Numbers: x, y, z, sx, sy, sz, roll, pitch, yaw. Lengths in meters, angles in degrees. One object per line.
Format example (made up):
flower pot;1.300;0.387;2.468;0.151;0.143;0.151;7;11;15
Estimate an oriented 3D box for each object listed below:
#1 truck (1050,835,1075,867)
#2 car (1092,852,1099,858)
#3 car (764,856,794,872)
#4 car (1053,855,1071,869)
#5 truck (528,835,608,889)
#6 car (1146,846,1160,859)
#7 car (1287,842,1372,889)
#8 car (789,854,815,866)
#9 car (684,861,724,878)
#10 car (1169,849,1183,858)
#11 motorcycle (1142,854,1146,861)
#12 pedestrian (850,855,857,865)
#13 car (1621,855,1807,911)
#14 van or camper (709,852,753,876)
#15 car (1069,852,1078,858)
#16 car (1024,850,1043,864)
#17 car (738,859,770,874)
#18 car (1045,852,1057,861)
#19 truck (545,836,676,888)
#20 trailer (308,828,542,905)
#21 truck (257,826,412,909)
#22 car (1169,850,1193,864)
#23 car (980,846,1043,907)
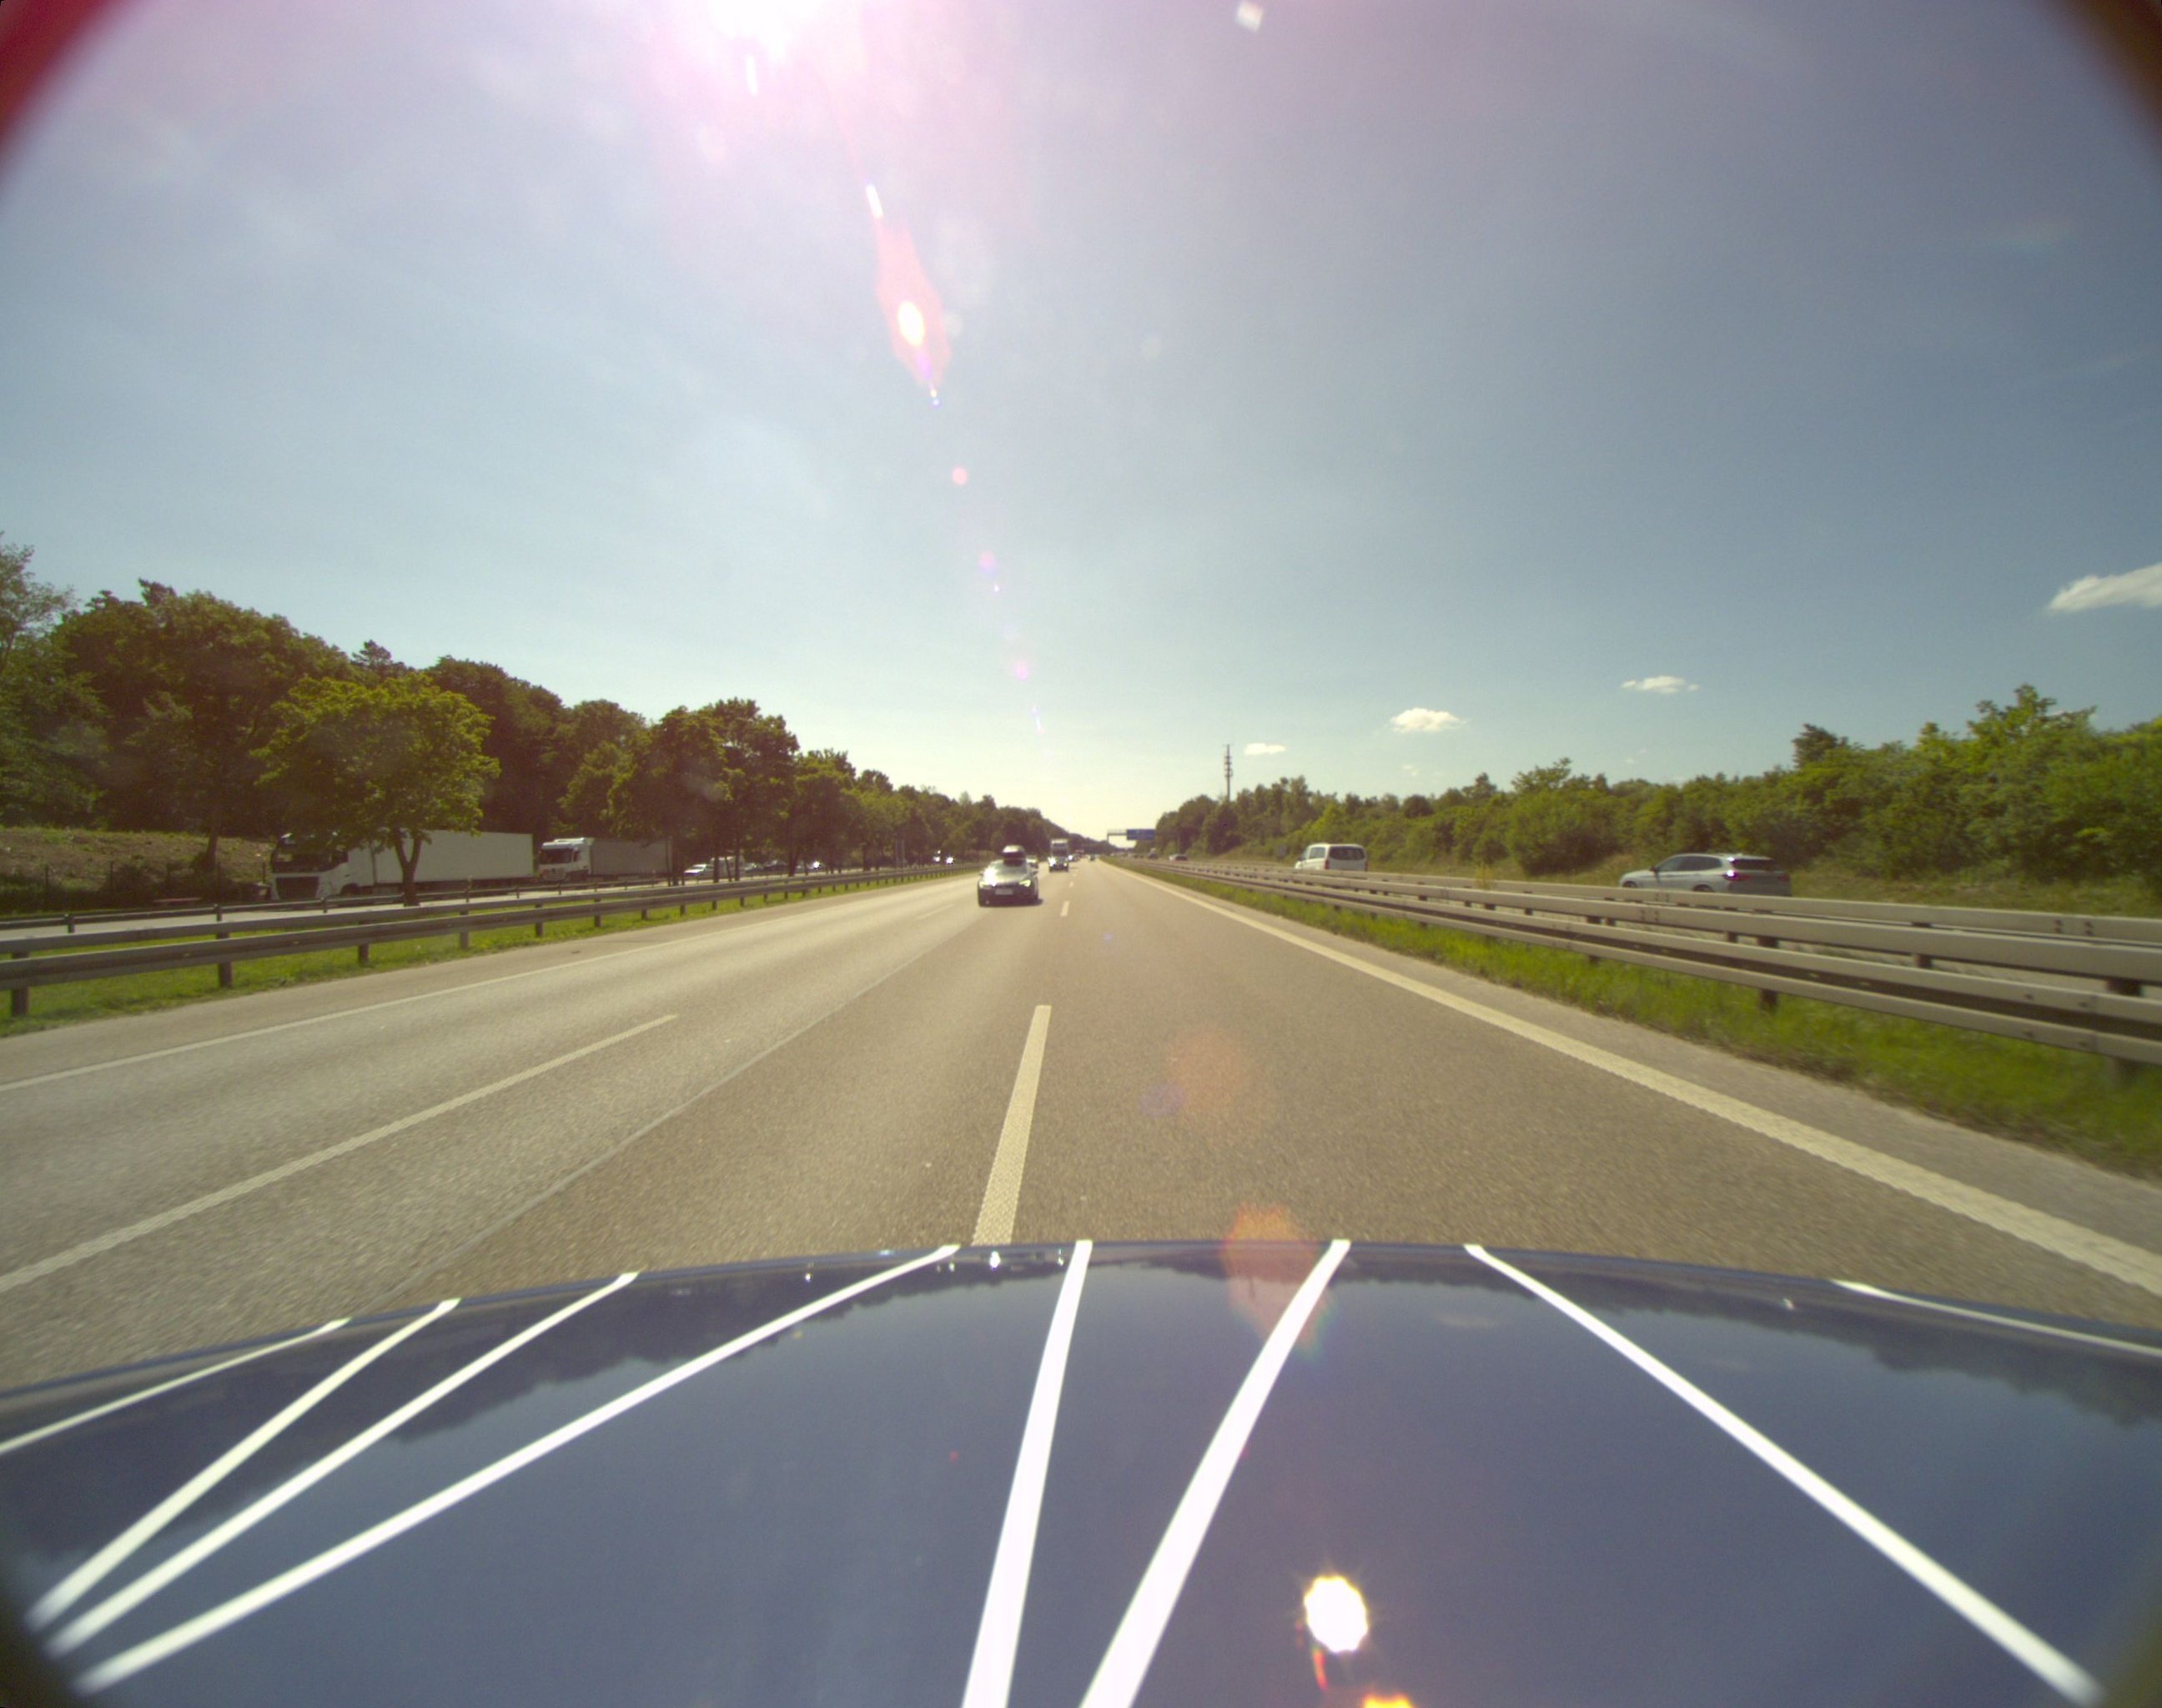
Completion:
truck;-2.221;-0.336;92.500;2.676;3.660;6.484;-1;0;2
car;3.251;0.172;167.895;1.591;1.291;3.383;0;0;2
car;-39.752;1.293;100.044;1.659;1.866;4.801;-1;0;5
car;-1.770;0.752;70.637;1.537;1.265;2.770;-1;0;2
truck;-39.438;0.591;58.586;2.979;3.908;4.831;-1;1;-4
car;13.313;-0.258;140.812;1.999;2.097;4.301;-4;0;0
car;11.076;0.452;34.317;1.925;1.862;5.516;3;1;-1
car;-40.167;0.875;109.467;1.659;1.666;4.653;-1;0;5
car;-40.245;1.616;81.167;1.659;1.588;4.556;-1;0;5
car;15.284;-0.073;122.703;1.747;1.450;4.232;-1;0;1
motorcycle;10.835;0.576;130.627;0.666;1.070;1.881;1;1;1
pedestrian;-38.252;1.023;127.870;0.641;1.772;0.802;0;1;40
car;18.447;0.774;22.468;1.792;1.431;4.520;-1;0;1
van or camper;-40.227;1.106;87.522;2.209;2.516;5.875;-1;0;1
car;-1.598;0.165;165.218;1.831;1.346;3.680;0;0;2
car;-5.828;0.344;93.904;1.847;1.559;4.036;-2;0;2
car;-40.056;1.502;93.248;1.659;1.632;4.498;-1;0;5
car;-6.155;0.485;157.403;1.924;1.659;4.688;-2;0;4
truck;-39.915;0.564;65.490;3.005;3.908;14.453;-1;0;-4
trailer;-37.733;0.613;44.986;2.866;3.774;14.180;-1;0;-6
truck;-36.912;0.630;37.840;2.817;3.775;5.142;-1;1;-7
car;10.530;0.315;80.010;1.998;1.431;4.203;-1;0;1
car;-2.267;0.686;25.756;1.669;1.865;4.827;0;0;0
